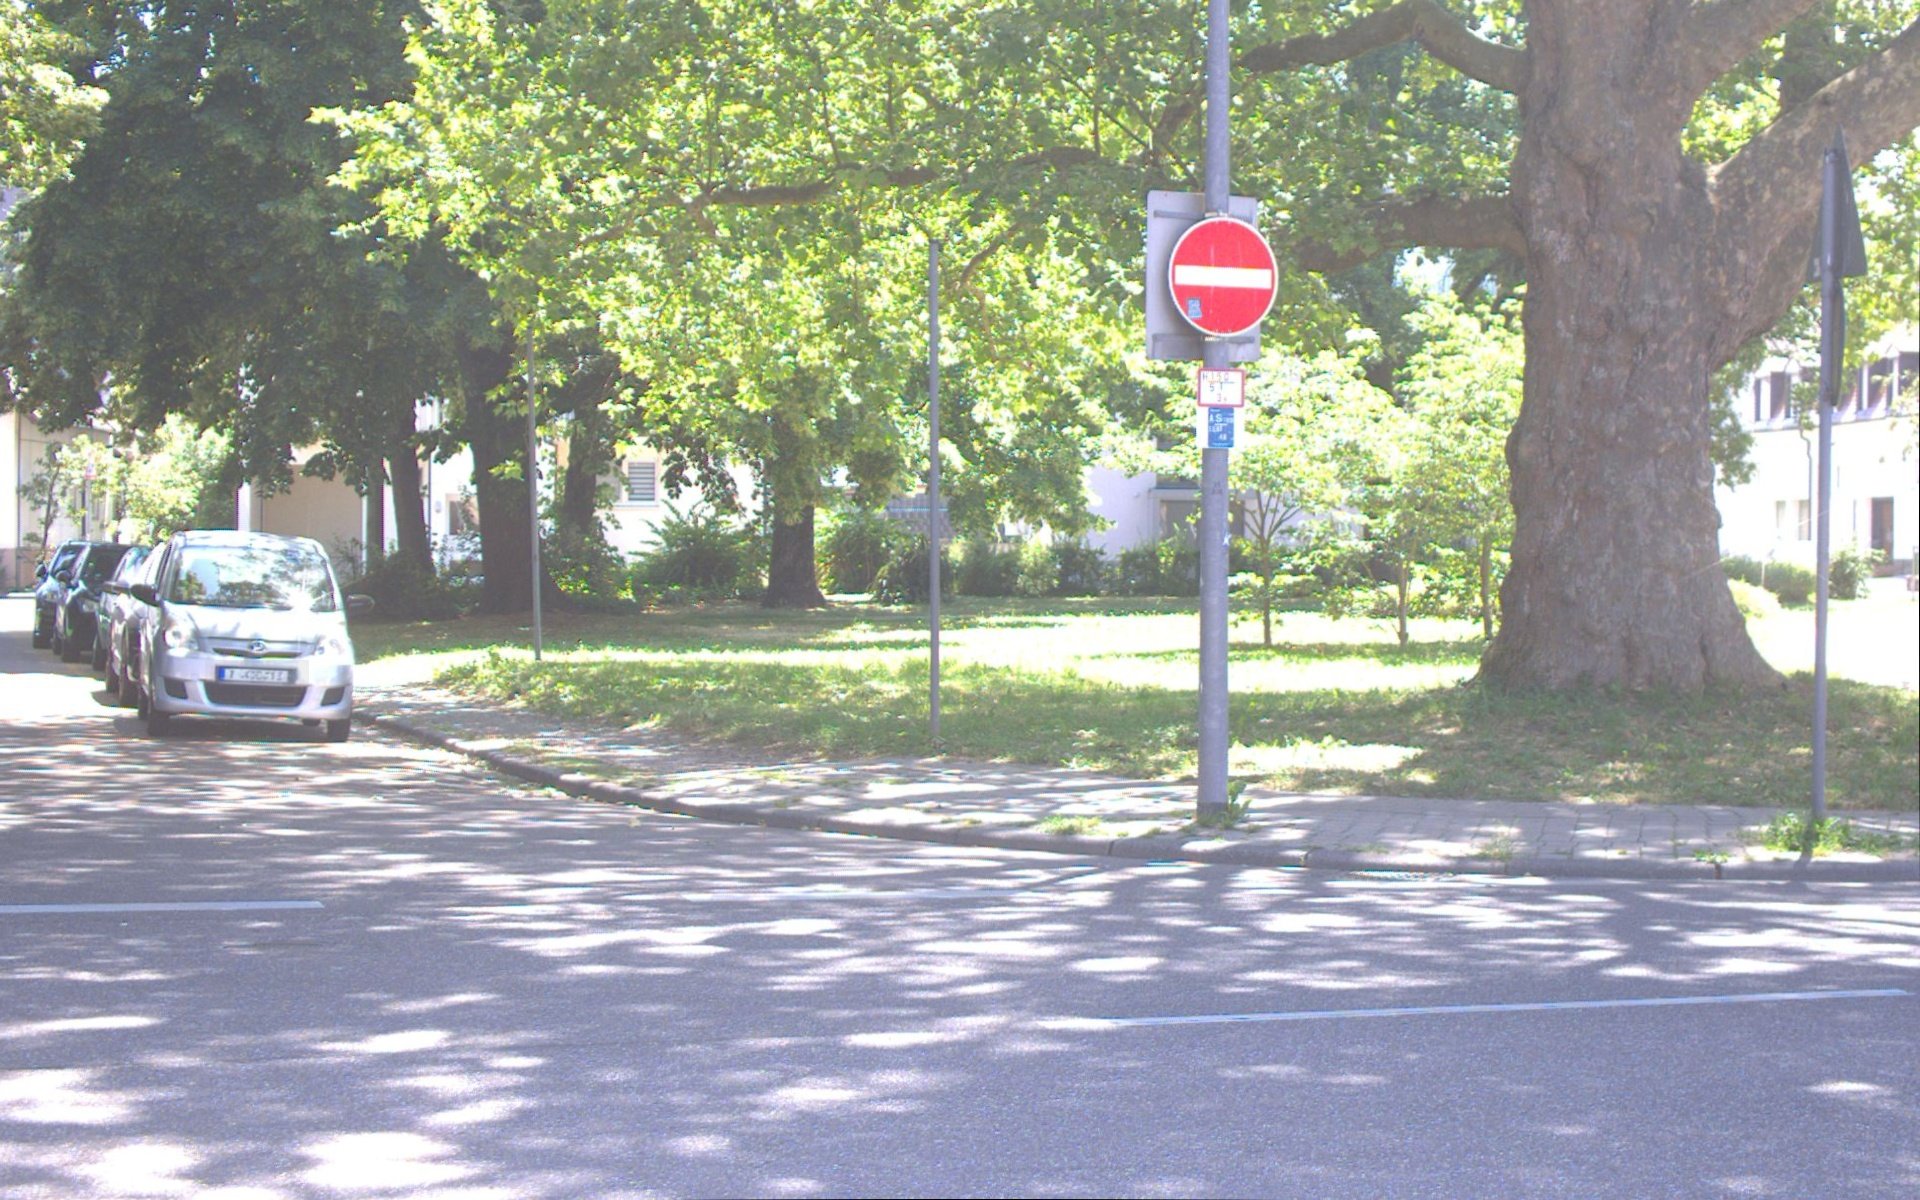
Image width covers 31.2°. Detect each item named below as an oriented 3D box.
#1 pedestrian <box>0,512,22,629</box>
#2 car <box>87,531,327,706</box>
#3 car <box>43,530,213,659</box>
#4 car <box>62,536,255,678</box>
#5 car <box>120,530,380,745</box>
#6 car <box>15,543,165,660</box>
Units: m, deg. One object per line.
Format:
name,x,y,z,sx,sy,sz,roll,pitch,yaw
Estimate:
pedestrian,-14.891,-0.459,53.084,0.719,1.796,0.941,0,1,-11
car,-6.963,0.119,31.484,1.750,1.434,4.505,1,1,-17
car,-10.315,-0.104,42.413,1.754,1.488,4.377,0,1,-17
car,-8.887,0.028,37.878,1.750,1.434,4.771,0,1,-17
car,-5.483,0.242,26.298,1.594,1.492,3.487,1,1,-17
car,-11.802,-0.015,46.510,1.754,1.488,3.919,0,1,-17
